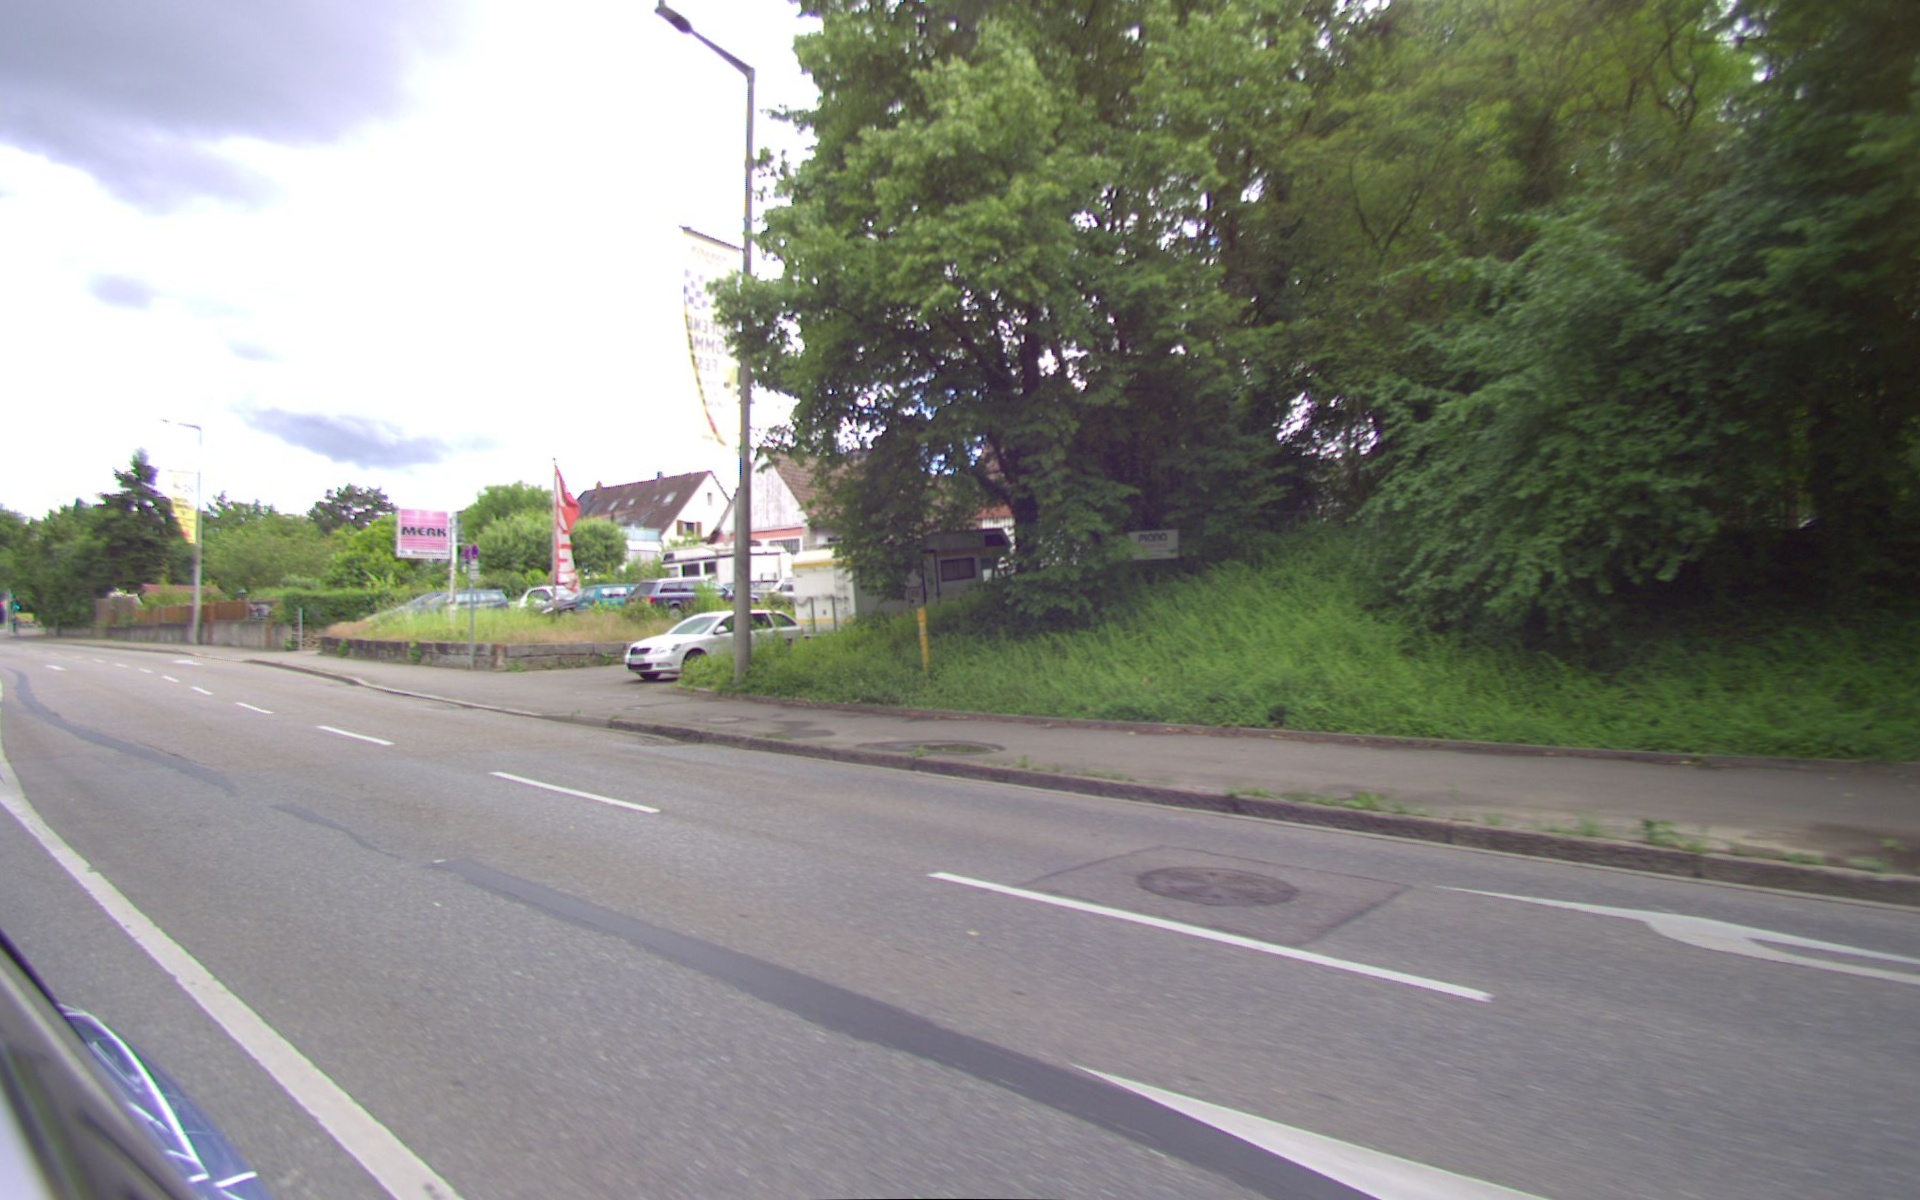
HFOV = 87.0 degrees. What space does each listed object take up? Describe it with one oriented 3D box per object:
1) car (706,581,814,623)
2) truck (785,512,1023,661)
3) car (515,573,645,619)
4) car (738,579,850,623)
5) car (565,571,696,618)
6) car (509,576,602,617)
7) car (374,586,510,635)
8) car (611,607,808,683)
[{"bbox_3d":[-7.599,0.055,38.763,1.733,1.519,3.834,-1,0,40],"label":"car"},{"bbox_3d":[-1.378,-0.347,28.342,2.657,3.657,6.835,-1,0,41],"label":"truck"},{"bbox_3d":[-13.360,-0.149,35.747,1.734,1.519,3.946,-1,0,41],"label":"car"},{"bbox_3d":[-5.999,0.035,36.878,1.733,1.519,3.834,-1,0,40],"label":"car"},{"bbox_3d":[-11.249,-0.176,34.721,1.734,1.519,3.946,-1,0,41],"label":"car"},{"bbox_3d":[-15.789,-0.117,39.432,3.998,1.519,1.711,-1,0,41],"label":"car"},{"bbox_3d":[-18.168,0.347,35.631,1.878,1.630,3.855,-1,0,41],"label":"car"},{"bbox_3d":[-5.594,0.981,23.048,1.746,1.503,4.169,-3,-2,37],"label":"car"}]
